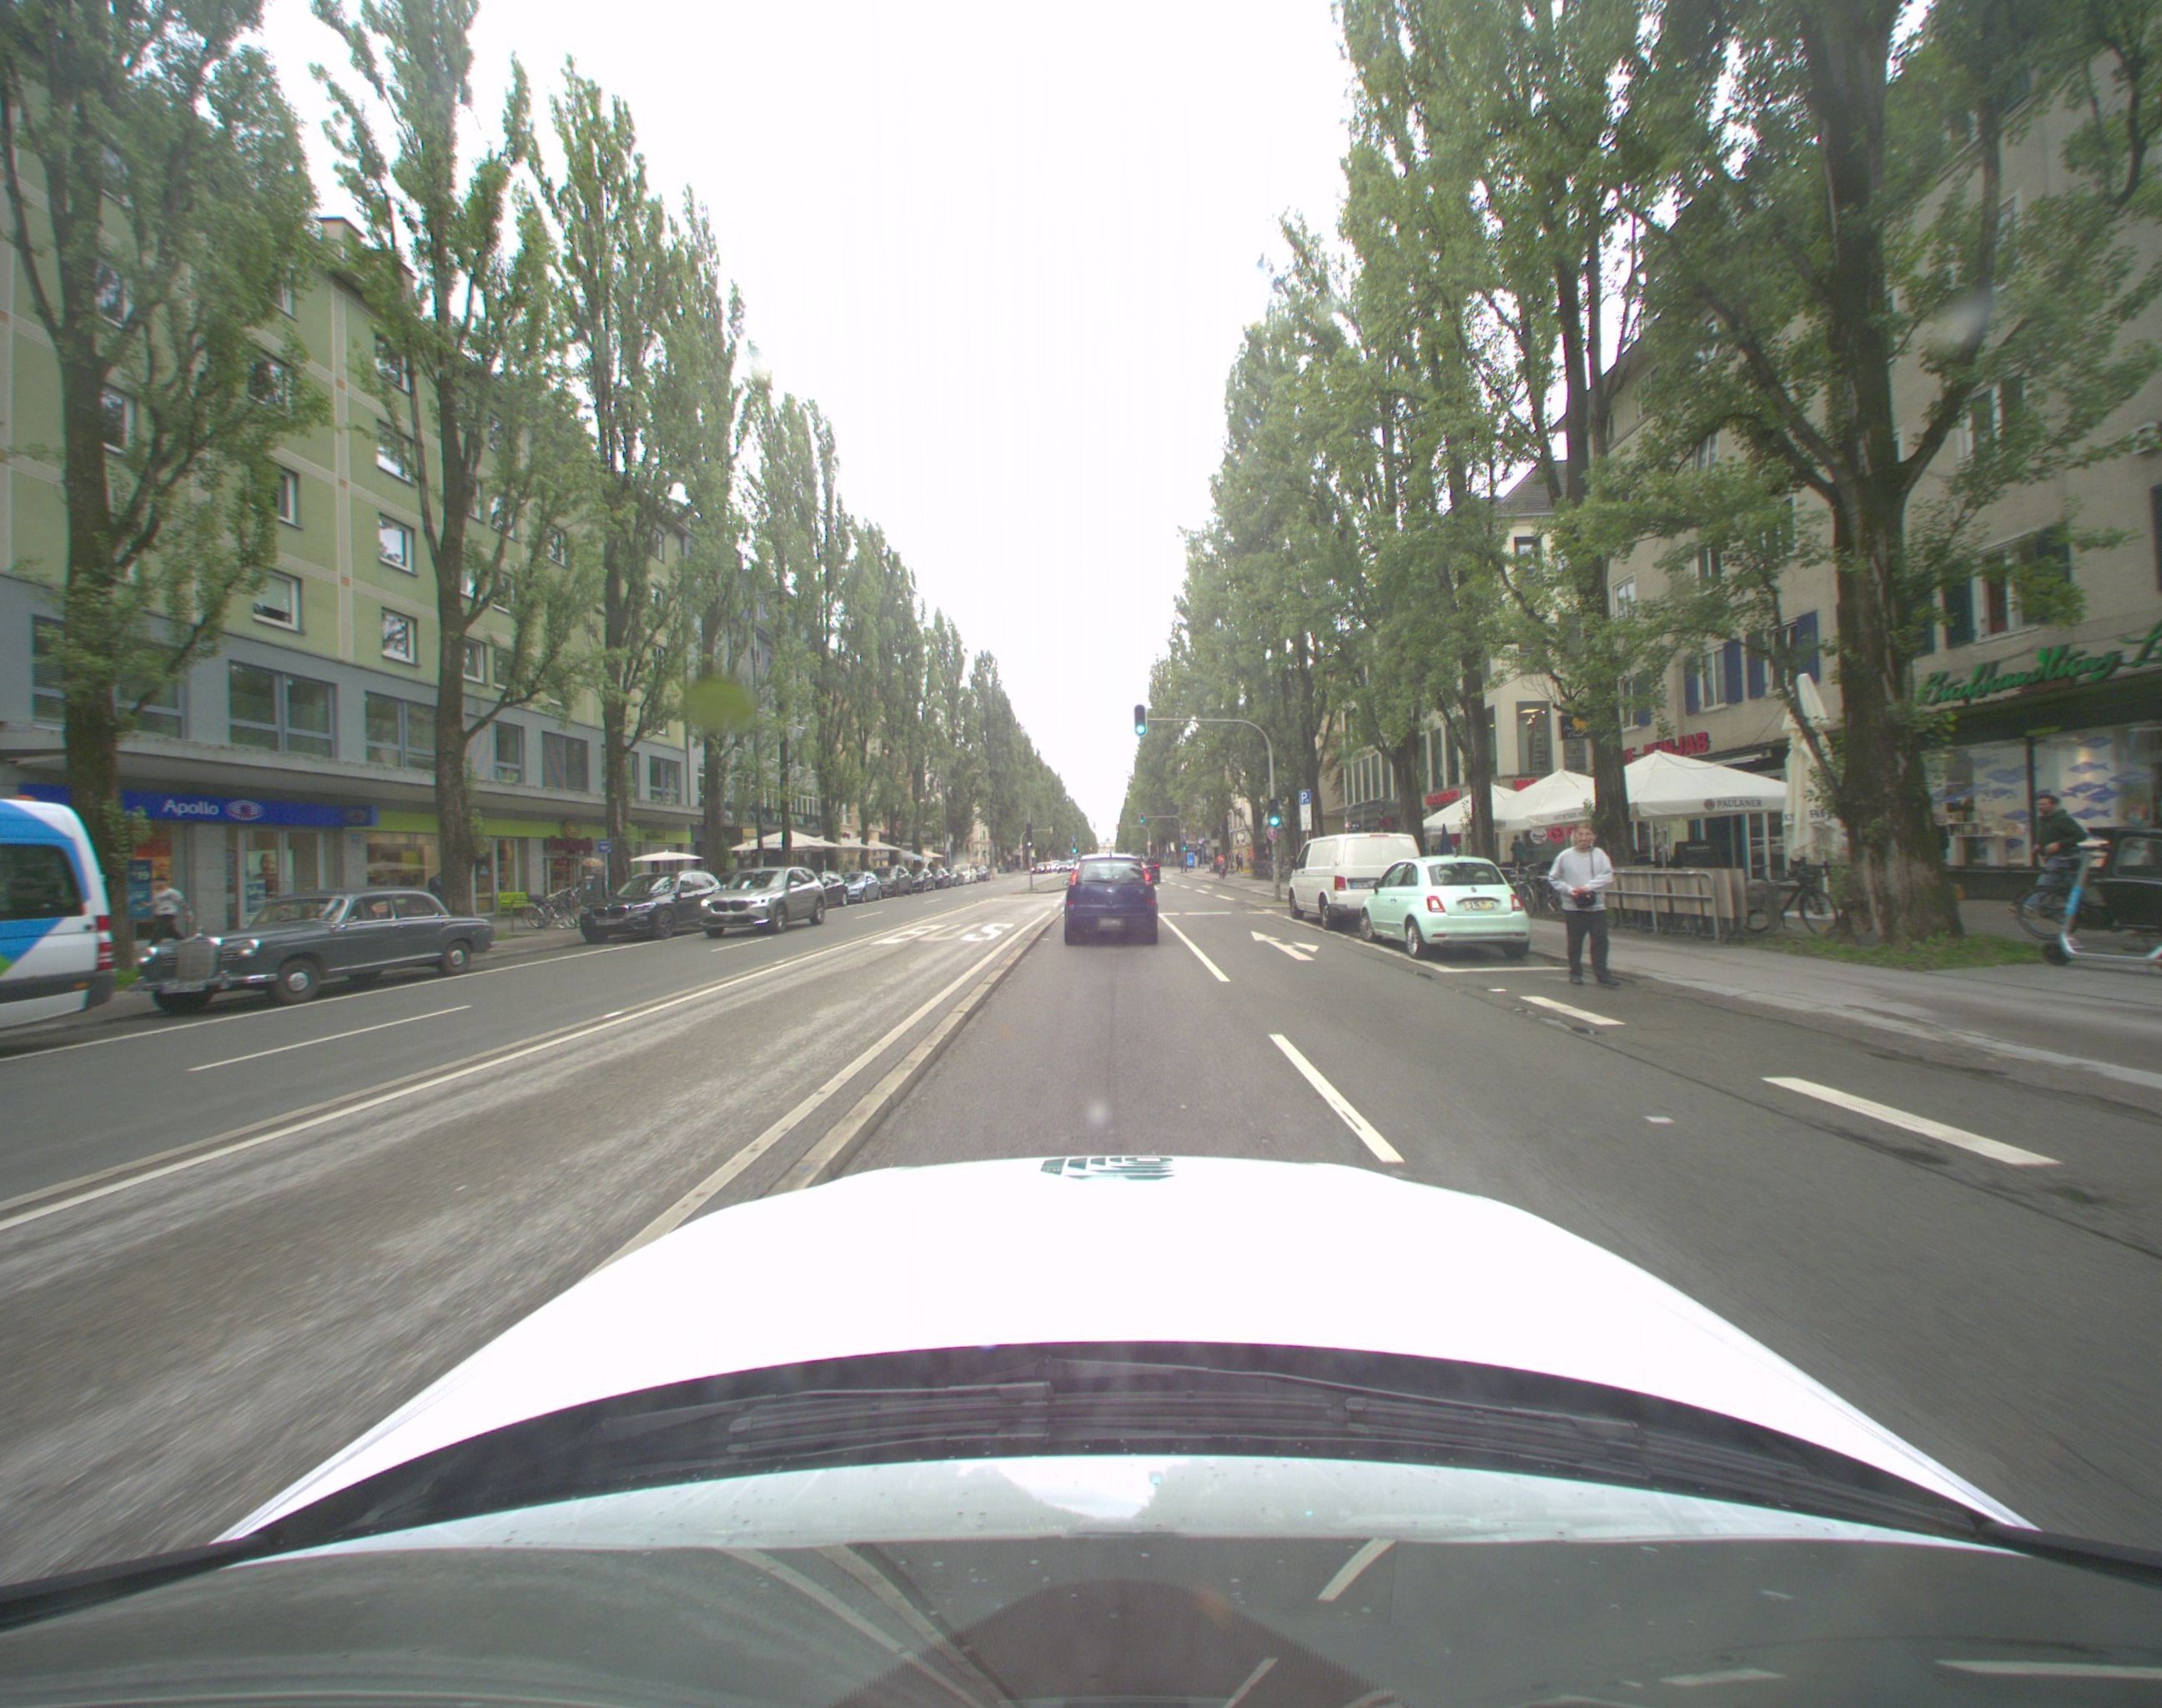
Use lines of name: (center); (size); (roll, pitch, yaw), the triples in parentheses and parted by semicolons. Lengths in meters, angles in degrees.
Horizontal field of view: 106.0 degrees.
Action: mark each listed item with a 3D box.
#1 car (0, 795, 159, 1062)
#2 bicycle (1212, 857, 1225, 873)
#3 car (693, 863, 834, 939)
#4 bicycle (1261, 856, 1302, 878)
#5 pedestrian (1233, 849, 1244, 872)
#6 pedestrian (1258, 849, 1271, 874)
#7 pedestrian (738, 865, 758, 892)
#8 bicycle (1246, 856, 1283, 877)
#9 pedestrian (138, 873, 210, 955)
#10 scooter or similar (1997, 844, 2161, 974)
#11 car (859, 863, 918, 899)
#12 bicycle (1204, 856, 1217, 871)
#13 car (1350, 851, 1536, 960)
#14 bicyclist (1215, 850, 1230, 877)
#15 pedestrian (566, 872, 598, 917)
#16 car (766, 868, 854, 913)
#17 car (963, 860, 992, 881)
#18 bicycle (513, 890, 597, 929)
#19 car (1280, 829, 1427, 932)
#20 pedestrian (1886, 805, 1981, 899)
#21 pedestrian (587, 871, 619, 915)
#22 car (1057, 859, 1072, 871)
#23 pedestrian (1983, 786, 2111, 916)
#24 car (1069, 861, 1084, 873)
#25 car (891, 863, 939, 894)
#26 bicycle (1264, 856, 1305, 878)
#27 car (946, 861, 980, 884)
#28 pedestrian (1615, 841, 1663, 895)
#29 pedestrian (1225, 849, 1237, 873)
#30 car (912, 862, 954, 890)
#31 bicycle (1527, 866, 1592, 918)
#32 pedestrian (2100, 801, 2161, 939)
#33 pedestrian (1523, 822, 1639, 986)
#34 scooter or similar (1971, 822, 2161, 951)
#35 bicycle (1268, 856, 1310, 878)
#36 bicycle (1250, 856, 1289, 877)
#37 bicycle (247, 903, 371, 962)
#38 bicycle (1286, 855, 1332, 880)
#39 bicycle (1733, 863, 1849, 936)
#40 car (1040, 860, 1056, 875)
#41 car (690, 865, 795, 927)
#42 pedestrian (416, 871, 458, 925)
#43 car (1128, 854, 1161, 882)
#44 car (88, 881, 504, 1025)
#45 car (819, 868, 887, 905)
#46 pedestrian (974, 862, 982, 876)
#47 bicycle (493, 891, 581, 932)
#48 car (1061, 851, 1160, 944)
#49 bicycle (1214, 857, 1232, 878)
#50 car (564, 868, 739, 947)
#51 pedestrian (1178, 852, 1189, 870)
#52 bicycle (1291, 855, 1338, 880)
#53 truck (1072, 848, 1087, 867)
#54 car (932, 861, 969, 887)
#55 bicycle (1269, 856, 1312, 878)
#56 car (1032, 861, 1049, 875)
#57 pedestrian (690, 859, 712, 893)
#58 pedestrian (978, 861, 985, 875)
car: (-11.472, 0.761, 5.655); (1.998, 2.567, 6.915); (-4, 0, 2)
bicycle: (11.719, 0.940, 69.460); (0.769, 1.349, 2.450); (-2, 0, 1)
car: (-8.064, 1.117, 21.158); (1.764, 1.635, 4.456); (-3, 0, 1)
bicycle: (11.992, 0.769, 48.757); (2.220, 1.204, 0.626); (-2, -1, -1)
pedestrian: (12.398, 0.516, 64.056); (0.636, 1.827, 0.885); (0, -1, -8)
pedestrian: (13.174, 0.544, 58.529); (0.636, 1.827, 0.885); (0, -1, -8)
pedestrian: (-17.702, 1.294, 43.315); (0.763, 1.410, 0.799); (0, -1, -3)
bicycle: (11.783, 0.803, 52.260); (2.220, 1.204, 0.626); (-2, -1, -1)
pedestrian: (-19.392, 1.265, 17.430); (0.753, 1.686, 0.675); (-3, -1, 3)
scooter or similar: (10.328, 0.526, 8.258); (0.326, 1.216, 1.443); (-3, -1, -2)
car: (-10.035, 1.374, 42.791); (1.859, 1.665, 4.402); (-4, 0, 2)
bicycle: (11.819, 0.841, 74.500); (0.769, 1.349, 2.450); (-2, 0, 1)
car: (5.614, 0.729, 13.083); (1.535, 1.492, 3.525); (-1, -1, 3)
bicyclist: (9.425, 0.648, 54.316); (0.764, 1.766, 0.885); (-2, -1, 1)
pedestrian: (-19.394, 1.554, 31.684); (0.753, 1.686, 0.675); (-3, -1, 3)
car: (-10.511, 1.384, 31.985); (1.792, 1.489, 4.352); (-4, 0, 2)
car: (-9.145, 1.457, 72.145); (1.859, 1.665, 4.122); (-4, 0, 2)
bicycle: (-15.376, 1.626, 23.847); (1.943, 1.095, 0.718); (0, 0, -5)
car: (5.845, 0.520, 18.101); (1.781, 1.946, 4.732); (-1, 0, 2)
pedestrian: (15.894, -0.036, 15.207); (0.795, 1.677, 0.877); (-2, -1, 1)
pedestrian: (-18.596, 1.514, 31.694); (0.753, 1.686, 0.675); (-3, -1, 3)
car: (-2.144, 1.412, 105.837); (1.728, 1.465, 3.366); (-2, 0, 2)
pedestrian: (14.498, -0.036, 12.254); (0.952, 1.865, 0.748); (-2, -1, 3)
car: (-0.594, 1.850, 116.581); (1.859, 1.665, 4.122); (-2, 0, 2)
car: (-9.908, 1.438, 48.928); (1.859, 1.665, 4.122); (-4, 0, 2)
bicycle: (11.996, 0.757, 47.961); (2.220, 1.204, 0.626); (-2, -1, -1)
car: (-9.386, 1.458, 64.870); (1.859, 1.665, 4.122); (-4, 0, 2)
pedestrian: (14.187, 0.344, 20.723); (0.636, 1.324, 0.800); (-2, -1, 1)
pedestrian: (11.705, 0.524, 63.528); (0.636, 1.827, 0.885); (0, -1, -8)
car: (-9.777, 1.436, 54.083); (1.859, 1.665, 4.122); (-4, 0, 2)
bicycle: (9.674, 0.748, 16.513); (0.348, 0.996, 1.453); (-3, -1, -2)
pedestrian: (12.890, 0.170, 9.577); (0.614, 1.605, 0.870); (-4, -1, -1)
pedestrian: (5.699, 0.551, 9.339); (0.822, 1.773, 0.873); (-2, -1, 10)
scooter or similar: (11.933, 0.338, 9.333); (0.634, 1.376, 2.493); (-3, 1, -2)
bicycle: (12.019, 0.744, 47.162); (2.220, 1.204, 0.626); (-2, -1, -1)
bicycle: (11.763, 0.789, 50.881); (2.220, 1.204, 0.626); (-2, -1, -1)
bicycle: (-15.449, 1.562, 16.326); (1.860, 1.095, 0.720); (0, 0, 4)
bicycle: (11.977, 0.704, 42.865); (2.220, 1.204, 0.626); (-2, -1, -1)
bicycle: (10.476, 0.644, 12.080); (0.348, 0.996, 1.453); (-3, -1, -2)
car: (-4.747, 1.995, 119.088); (1.986, 2.013, 4.001); (-2, 0, 1)
car: (-10.821, 1.270, 26.344); (1.704, 1.721, 3.920); (-4, 0, -1)
pedestrian: (-20.492, 1.392, 25.941); (0.670, 1.686, 0.759); (-3, -1, 3)
car: (3.913, 0.865, 50.727); (1.889, 1.622, 4.002); (-1, 0, 2)
car: (-11.337, 1.299, 12.337); (1.859, 1.552, 4.416); (-4, 0, 2)
car: (-10.279, 1.443, 37.087); (1.727, 1.425, 4.145); (-4, 0, 2)
pedestrian: (-13.097, 1.867, 103.930); (0.770, 1.766, 0.878); (-2, -1, -23)
bicycle: (-15.342, 1.622, 23.015); (1.943, 1.095, 0.718); (0, 0, -5)
car: (0.573, 0.749, 15.942); (1.665, 1.568, 4.002); (-1, 0, 2)
bicycle: (9.425, 0.857, 54.151); (0.769, 1.349, 2.450); (-2, 0, 1)
car: (-10.834, 1.267, 21.018); (1.859, 1.664, 4.613); (-4, 0, 2)
pedestrian: (10.105, 0.701, 80.186); (0.880, 1.766, 0.769); (-2, -1, -1)
bicycle: (11.976, 0.699, 41.781); (2.220, 1.204, 0.626); (-2, -1, -1)
truck: (-0.273, 0.597, 148.437); (2.374, 3.347, 7.113); (-2, 0, 2)
car: (-9.491, 1.438, 59.607); (1.859, 1.665, 4.122); (-4, 0, 2)
bicycle: (11.930, 0.736, 46.355); (2.220, 1.204, 0.626); (-2, -1, -1)
car: (-5.220, 1.817, 105.163); (1.859, 1.665, 4.122); (-2, 0, 2)
pedestrian: (-19.541, 1.130, 41.888); (0.753, 1.686, 0.675); (-3, -1, 3)
pedestrian: (-12.418, 1.718, 101.850); (0.768, 1.766, 0.881); (-2, -1, -12)
